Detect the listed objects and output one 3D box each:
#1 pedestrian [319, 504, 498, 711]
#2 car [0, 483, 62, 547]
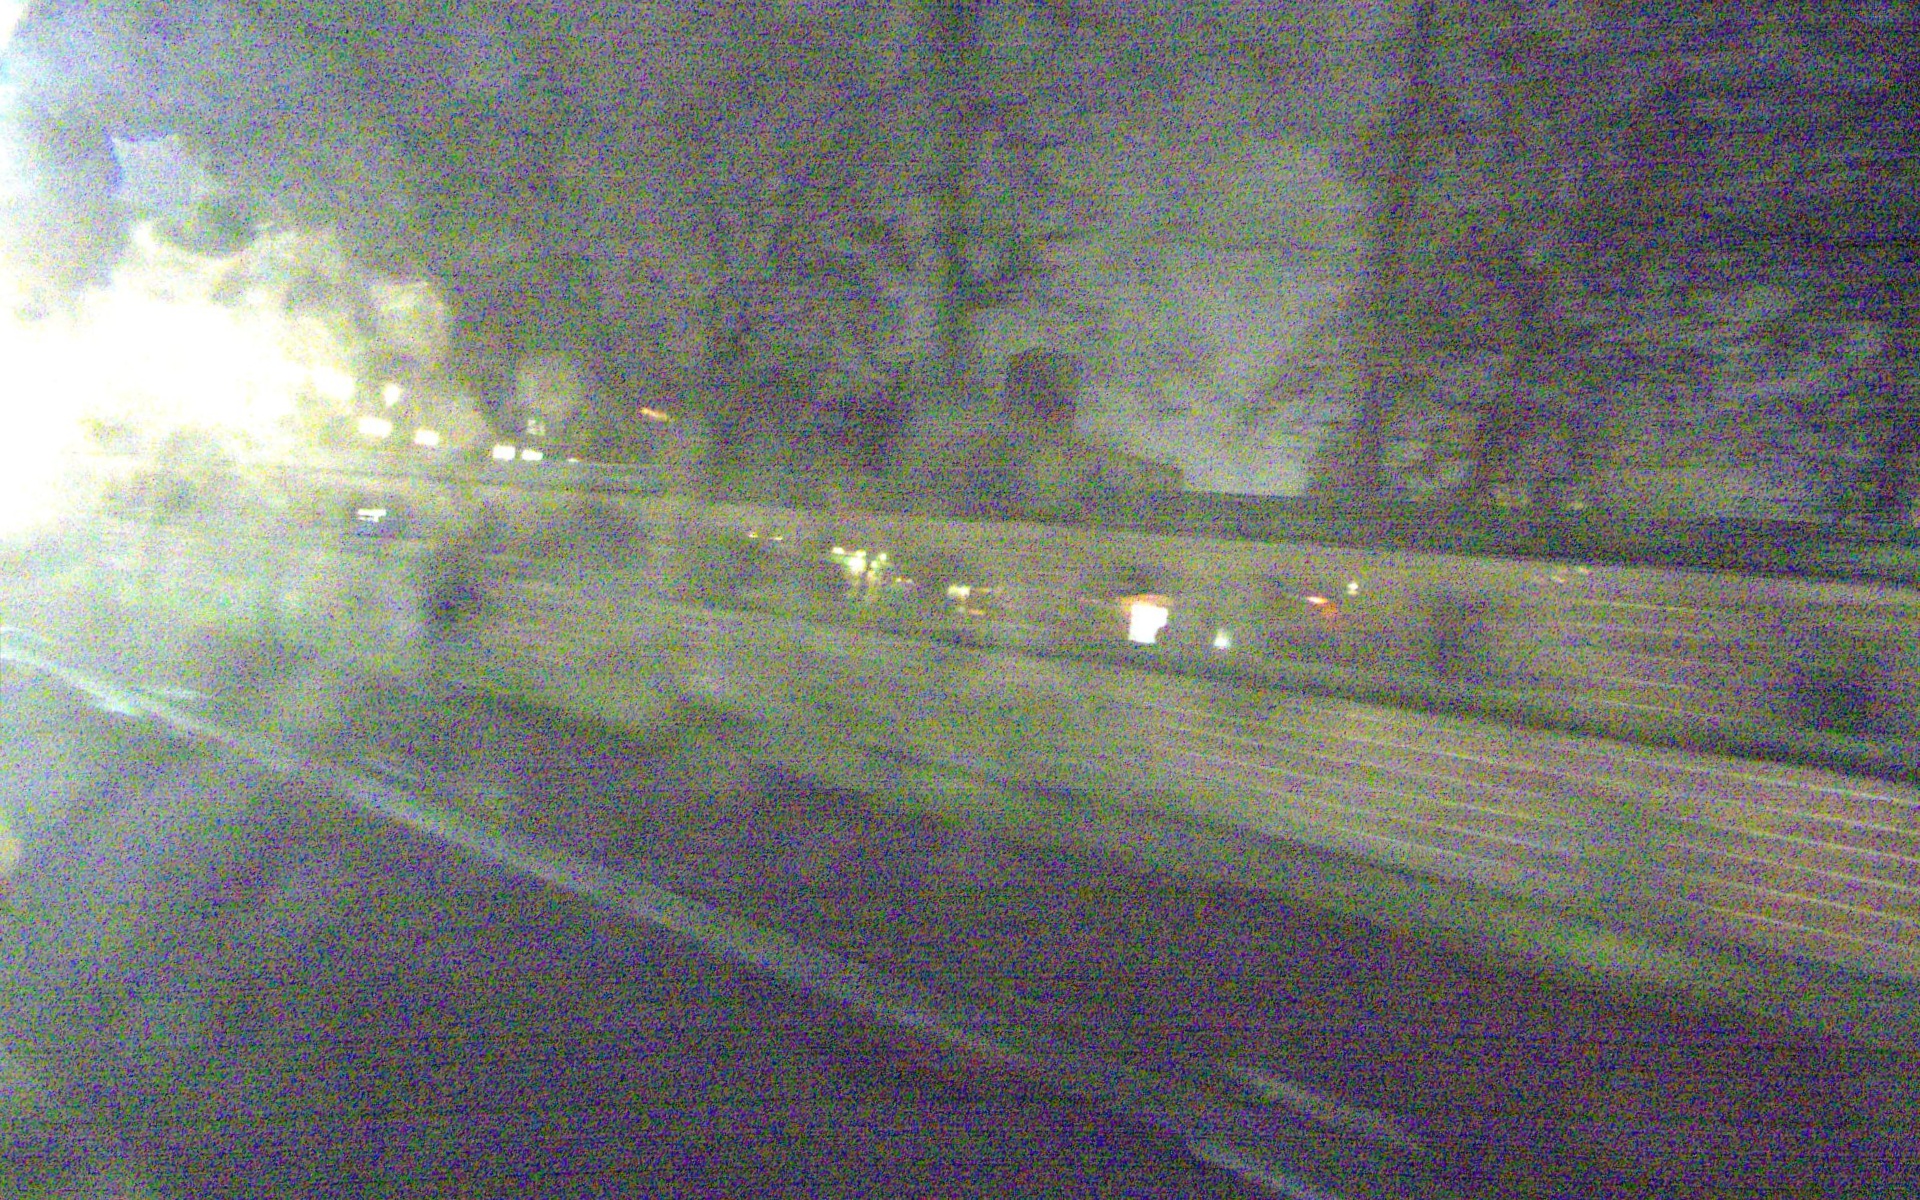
[{"bbox_3d":[-4.978,0.059,9.106,0.977,1.686,0.940,7,3,27],"label":"pedestrian"},{"bbox_3d":[-28.124,-2.549,28.963,2.004,1.720,4.100,7,-1,-23],"label":"car"}]
